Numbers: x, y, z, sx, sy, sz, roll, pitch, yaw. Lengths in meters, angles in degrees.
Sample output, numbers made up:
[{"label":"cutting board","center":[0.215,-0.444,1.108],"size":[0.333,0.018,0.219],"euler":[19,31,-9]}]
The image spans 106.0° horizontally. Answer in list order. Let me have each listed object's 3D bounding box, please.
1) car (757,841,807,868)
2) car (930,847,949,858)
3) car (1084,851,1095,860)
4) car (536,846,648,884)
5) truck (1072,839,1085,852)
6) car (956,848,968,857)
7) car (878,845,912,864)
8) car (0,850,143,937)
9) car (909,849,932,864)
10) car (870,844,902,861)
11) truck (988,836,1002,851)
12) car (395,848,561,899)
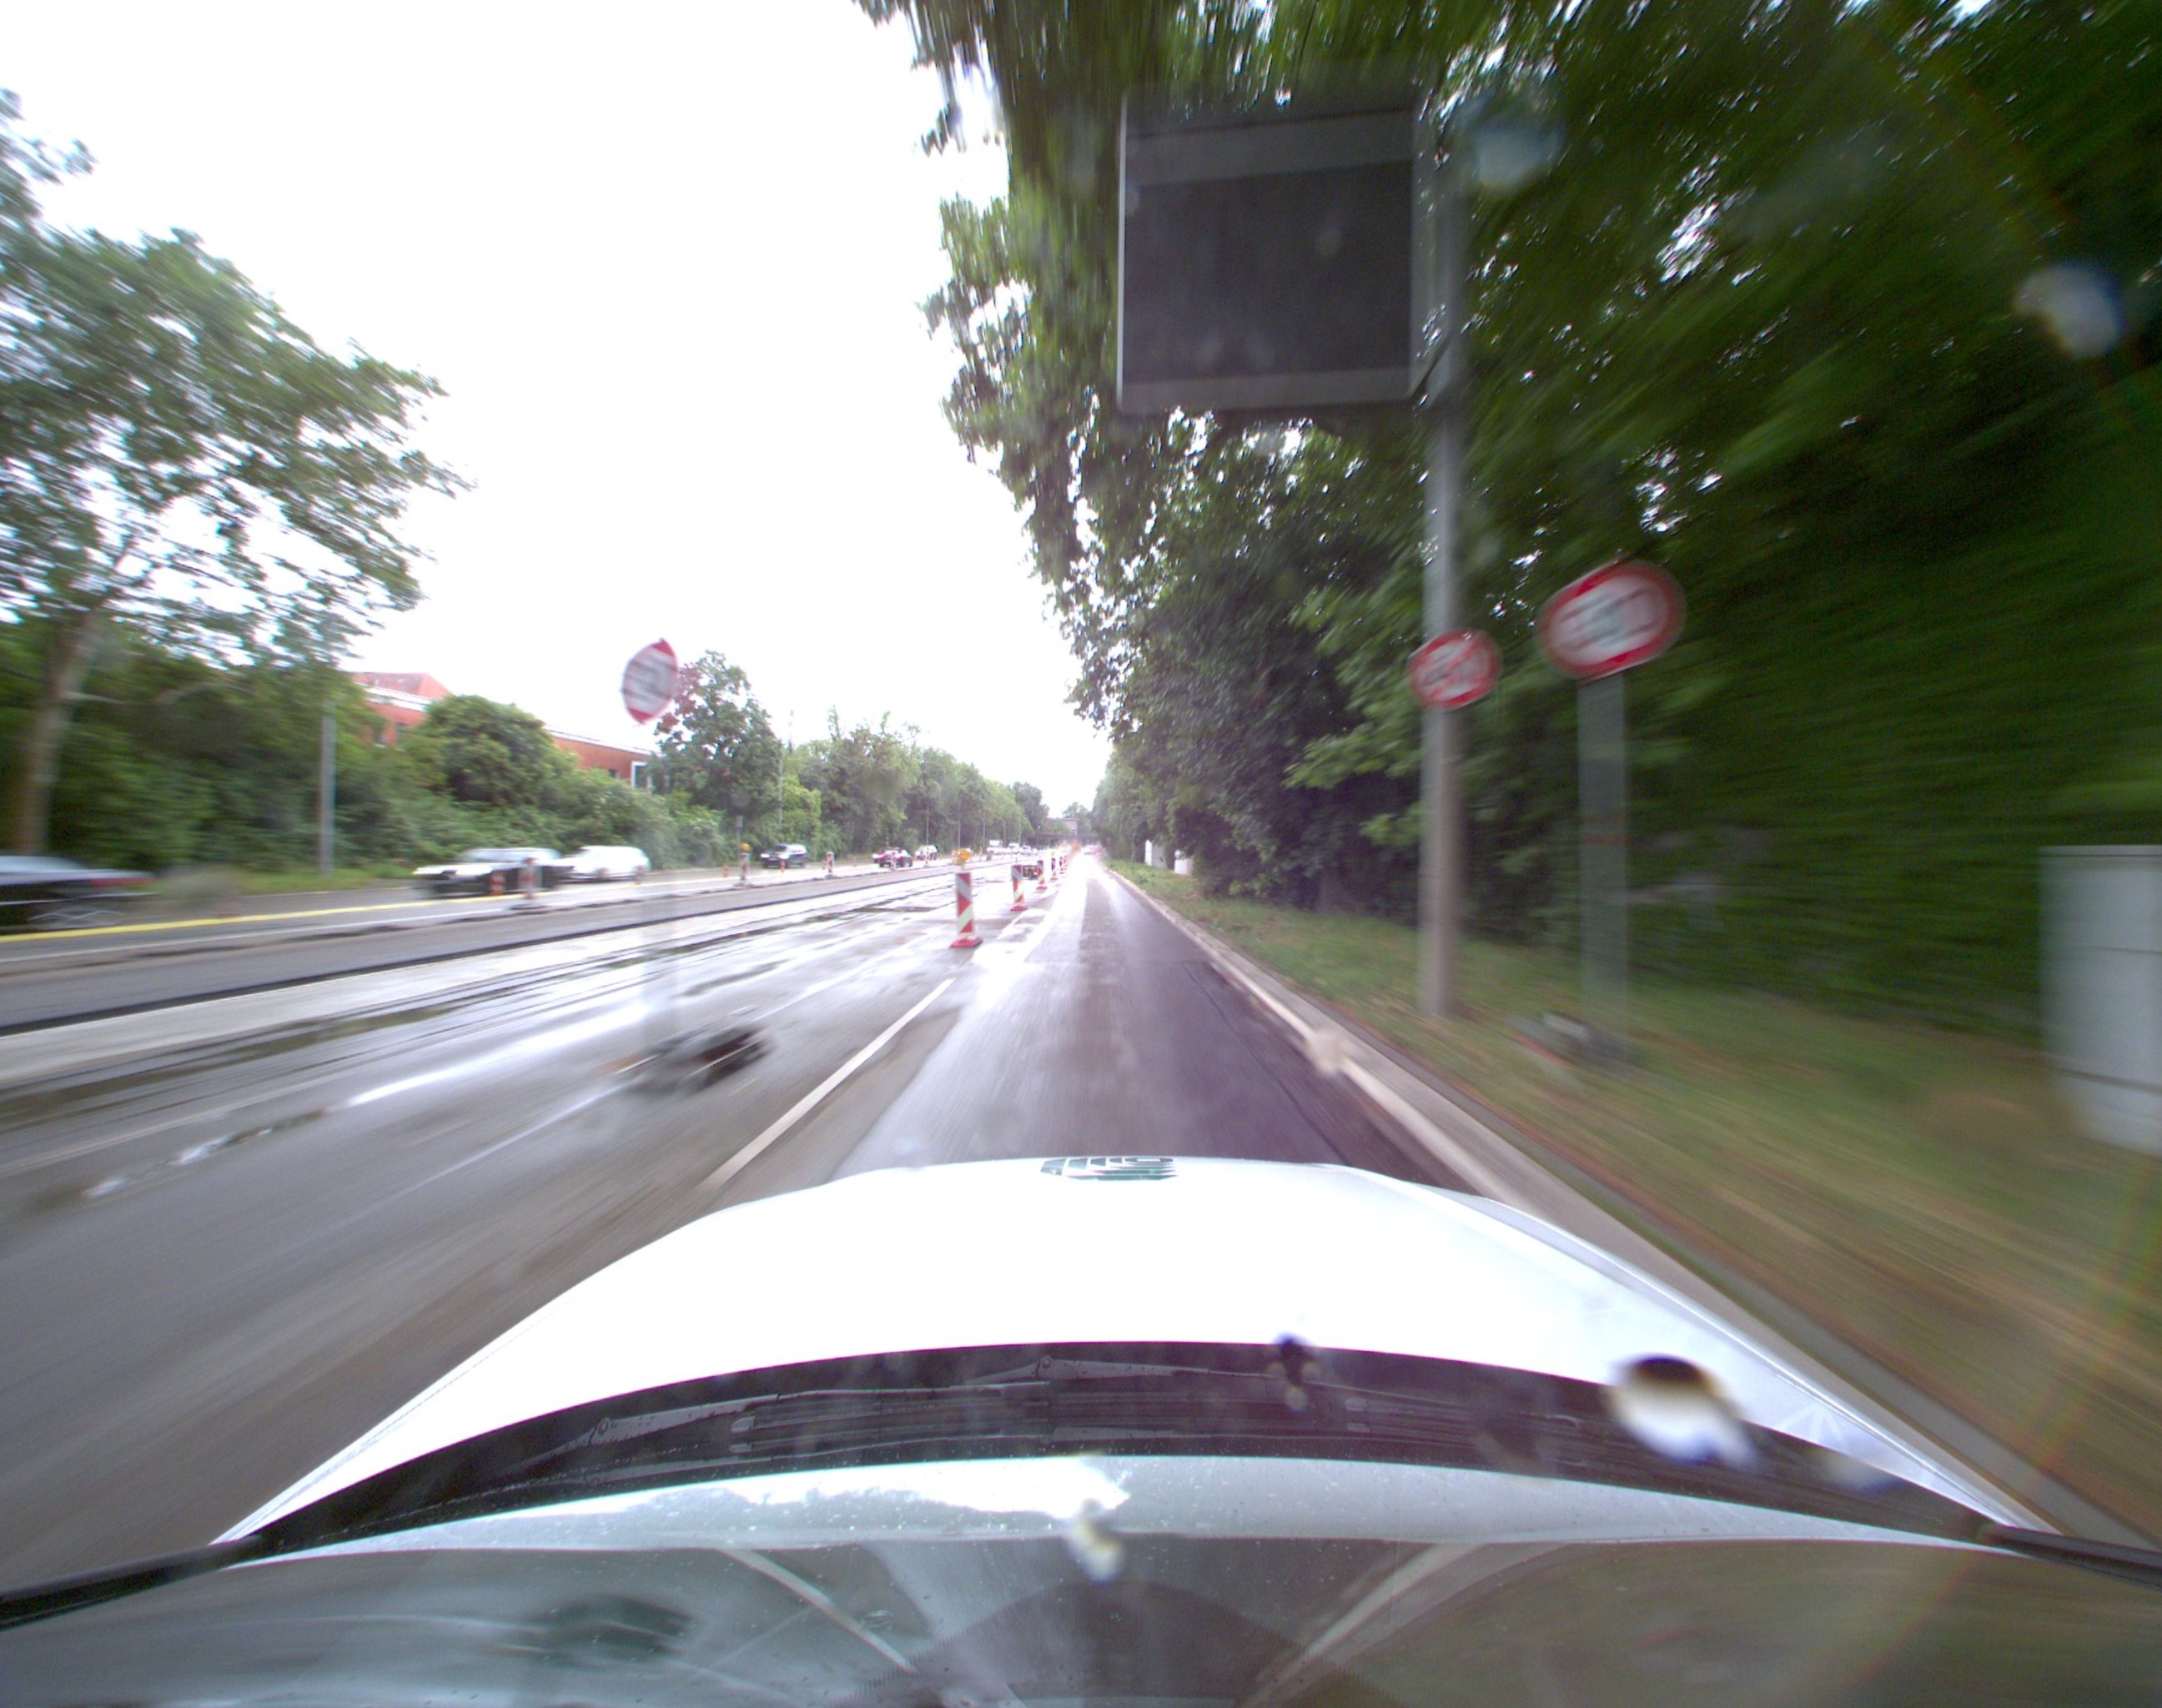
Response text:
[{"label":"car","center":[-20.296,0.007,55.513],"size":[1.647,1.685,4.533],"euler":[1,1,0]},{"label":"car","center":[-19.314,-0.276,111.422],"size":[1.755,1.483,4.899],"euler":[0,1,0]},{"label":"car","center":[1.479,0.239,139.157],"size":[1.691,1.336,3.492],"euler":[-2,0,2]},{"label":"car","center":[-20.065,0.410,33.709],"size":[1.812,1.419,4.603],"euler":[1,1,0]},{"label":"truck","center":[-0.665,-2.264,225.204],"size":[3.248,3.497,13.870],"euler":[1,1,0]},{"label":"car","center":[-17.919,-0.260,122.969],"size":[1.444,1.332,3.858],"euler":[0,0,-2]},{"label":"car","center":[-14.367,0.051,63.111],"size":[1.602,1.404,4.041],"euler":[1,1,0]},{"label":"car","center":[-17.991,0.658,12.595],"size":[1.812,1.355,4.390],"euler":[-1,1,0]},{"label":"car","center":[-18.200,0.252,92.351],"size":[1.729,1.722,4.493],"euler":[0,0,0]},{"label":"car","center":[-18.077,-0.136,75.678],"size":[1.755,1.483,4.899],"euler":[0,1,0]},{"label":"truck","center":[-18.509,-2.260,175.440],"size":[2.237,2.940,6.937],"euler":[1,1,1]},{"label":"car","center":[-18.085,0.535,24.712],"size":[1.812,1.355,4.205],"euler":[-1,1,0]}]
